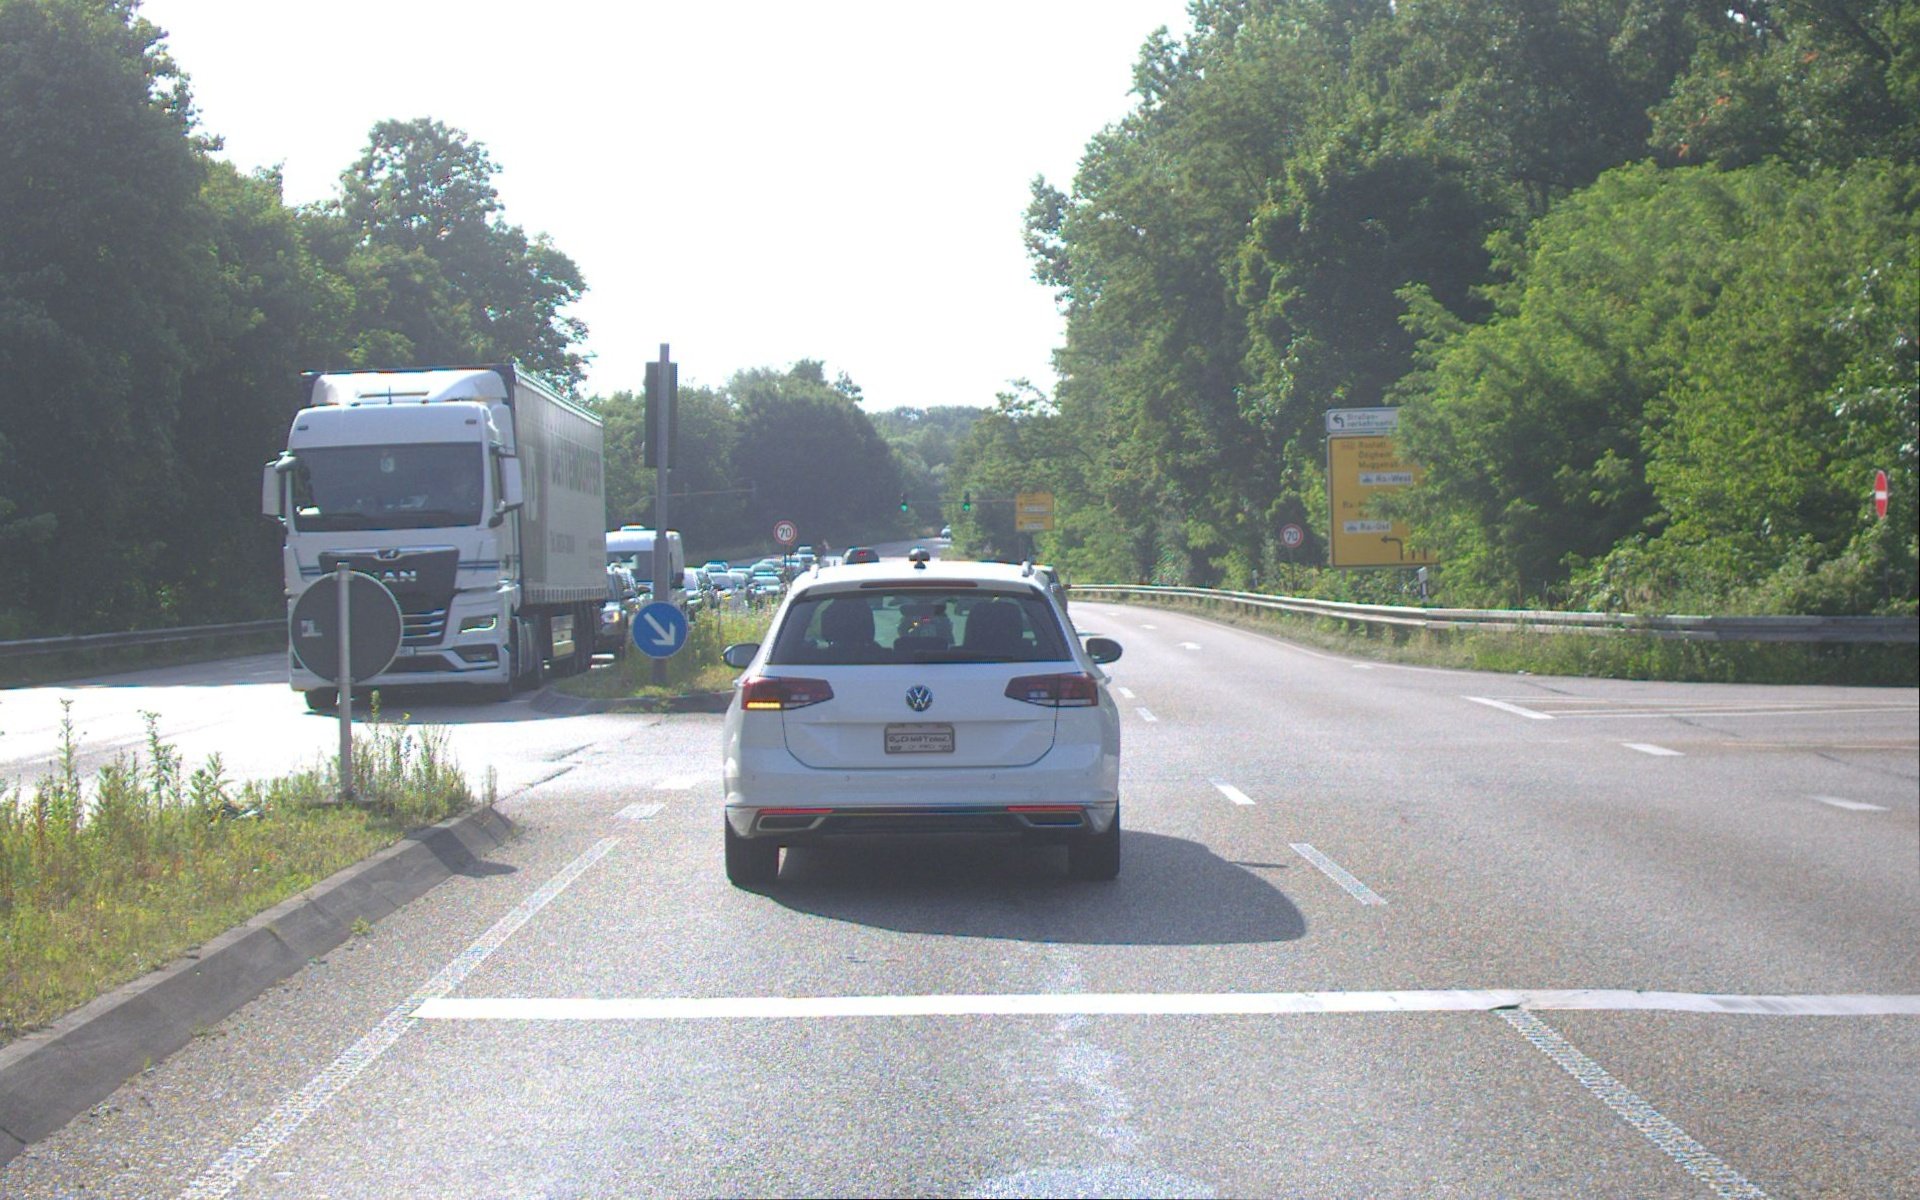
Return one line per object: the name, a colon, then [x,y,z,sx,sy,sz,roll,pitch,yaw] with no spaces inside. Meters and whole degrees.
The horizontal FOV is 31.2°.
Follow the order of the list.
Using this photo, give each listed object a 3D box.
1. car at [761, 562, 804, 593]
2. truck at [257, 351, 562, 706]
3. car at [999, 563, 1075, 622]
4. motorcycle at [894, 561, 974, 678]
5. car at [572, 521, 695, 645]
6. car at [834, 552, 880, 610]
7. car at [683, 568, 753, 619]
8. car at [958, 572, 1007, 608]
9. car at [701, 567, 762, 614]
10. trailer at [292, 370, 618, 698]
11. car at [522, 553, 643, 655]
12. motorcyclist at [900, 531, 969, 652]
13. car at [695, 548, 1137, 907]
car: [-8.720,-1.123,168.901,1.867,1.412,4.416,-2,1,-1]
truck: [-6.574,-0.855,42.031,2.890,3.983,6.722,0,1,-2]
car: [1.850,-0.202,83.179,1.761,1.375,3.972,0,1,0]
motorcycle: [-0.335,0.245,46.675,0.909,1.448,2.689,-4,1,1]
car: [-7.072,-0.413,75.011,2.075,2.525,6.164,-2,1,-1]
car: [-5.322,-1.010,178.773,2.210,2.878,7.011,-2,1,-1]
car: [-7.366,-0.215,105.071,1.771,1.418,5.193,-2,1,-1]
car: [0.966,-0.447,149.112,1.744,1.532,3.927,1,1,-5]
car: [-7.426,-0.319,112.071,1.707,1.418,4.212,-2,1,-1]
trailer: [-6.828,-0.901,48.769,2.991,3.982,14.015,0,1,-2]
car: [-6.461,0.029,59.145,1.700,1.626,4.371,-2,1,-2]
motorcyclist: [-0.342,-0.125,46.672,0.884,1.610,1.290,1,1,1]
car: [-0.229,0.506,17.018,1.870,1.516,4.834,0,1,-1]
